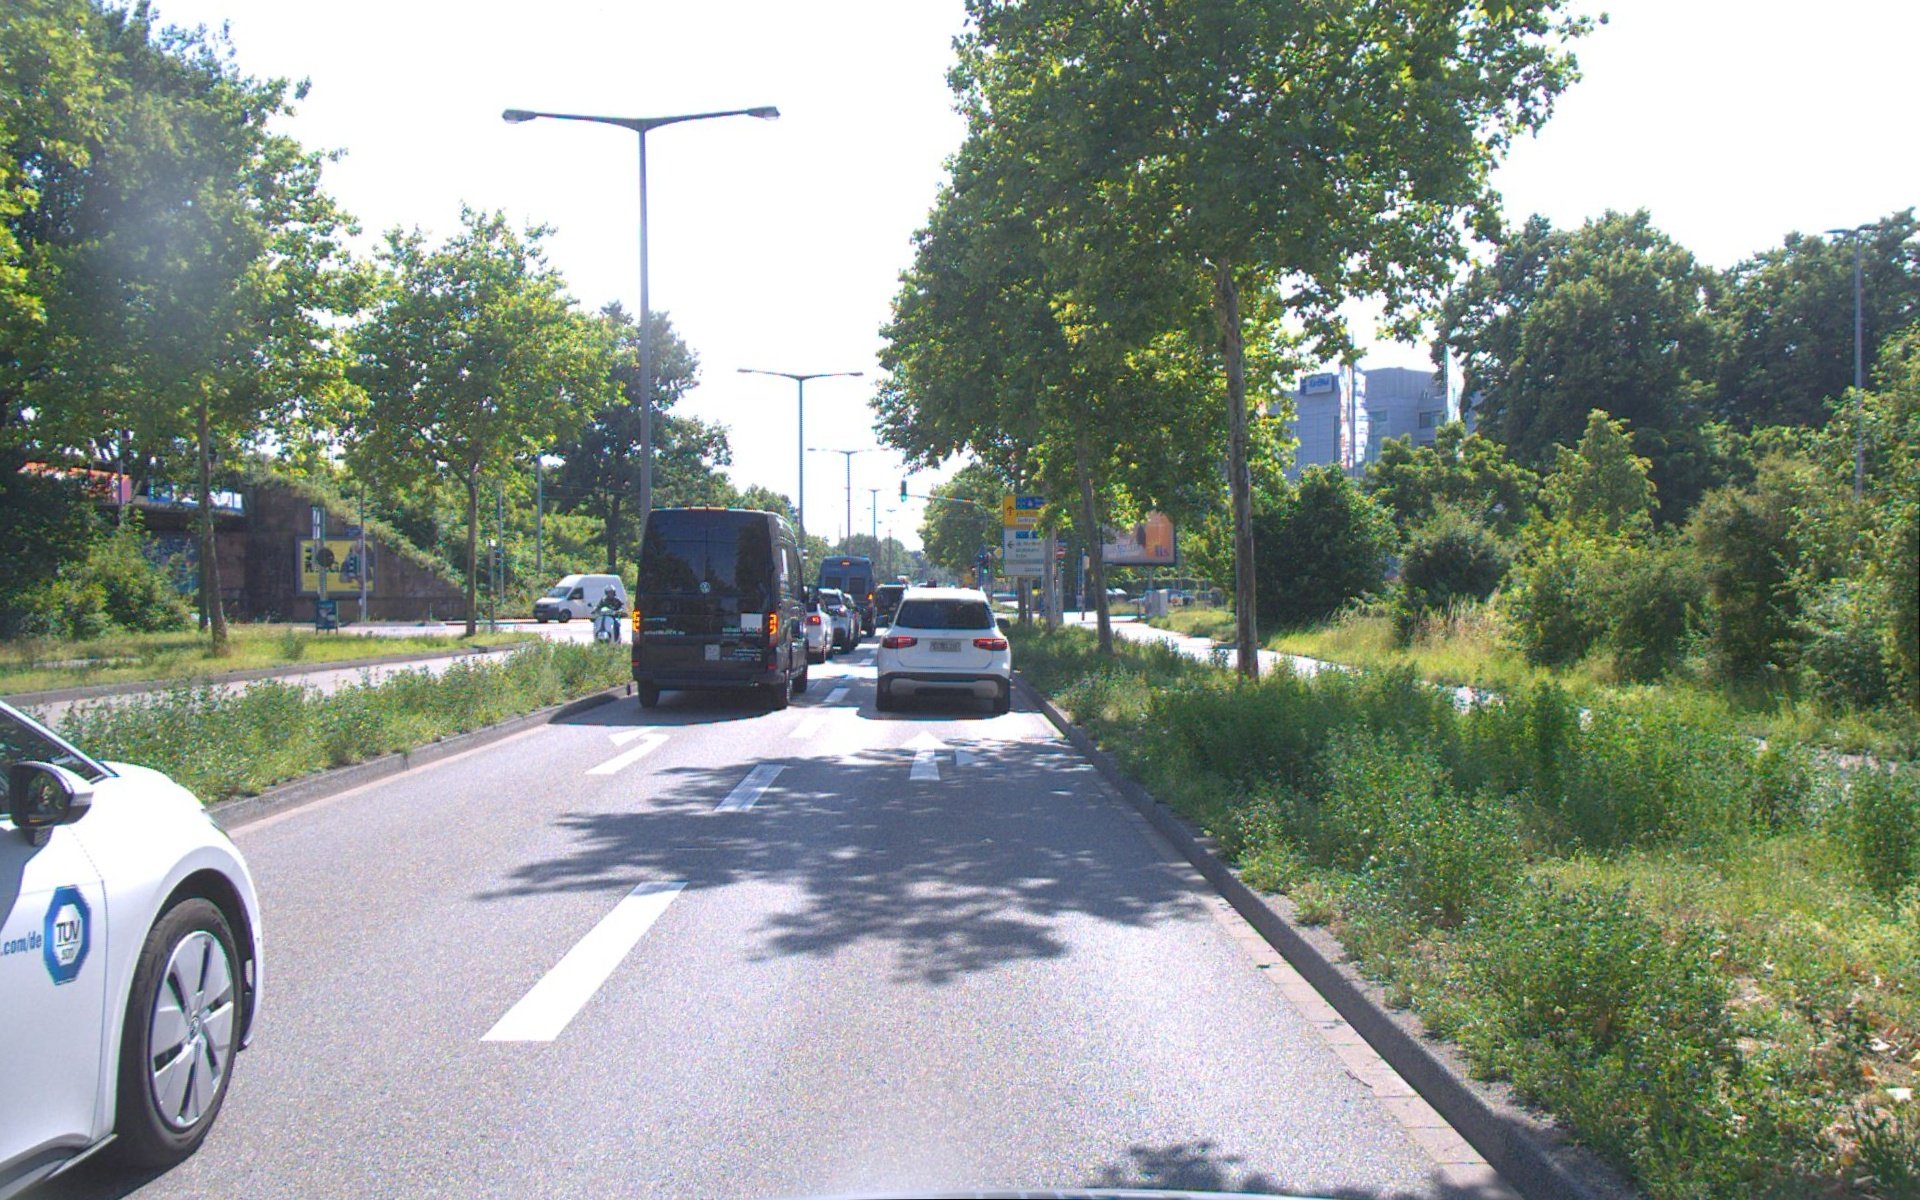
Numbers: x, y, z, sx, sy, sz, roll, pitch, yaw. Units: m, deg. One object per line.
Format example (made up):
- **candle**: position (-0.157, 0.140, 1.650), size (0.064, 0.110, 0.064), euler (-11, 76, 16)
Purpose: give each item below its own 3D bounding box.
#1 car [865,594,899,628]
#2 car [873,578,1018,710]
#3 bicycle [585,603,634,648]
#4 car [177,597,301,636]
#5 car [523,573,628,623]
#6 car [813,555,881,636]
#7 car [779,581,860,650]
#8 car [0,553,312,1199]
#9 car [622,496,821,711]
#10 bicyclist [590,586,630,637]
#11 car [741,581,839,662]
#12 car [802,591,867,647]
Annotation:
- **car**: position (-3.435, 0.472, 73.153), size (1.434, 1.428, 3.476), euler (1, 0, -1)
- **car**: position (-0.288, 0.563, 23.355), size (1.817, 1.635, 3.998), euler (2, 0, -3)
- **bicycle**: position (-8.560, 0.605, 40.475), size (0.713, 1.047, 2.216), euler (2, 0, -1)
- **car**: position (-26.627, 0.603, 61.095), size (3.951, 1.368, 1.861), euler (-1, 0, -34)
- **car**: position (-19.518, -0.093, 84.188), size (1.961, 2.460, 5.116), euler (1, 0, 37)
- **car**: position (-3.968, -0.164, 58.702), size (2.039, 2.703, 4.873), euler (1, 0, 0)
- **car**: position (-3.575, 0.380, 42.674), size (1.735, 1.676, 4.084), euler (1, 0, 0)
- **car**: position (-2.795, 0.673, 2.794), size (1.782, 1.548, 4.207), euler (1, 0, -1)
- **car**: position (-3.228, 0.046, 23.679), size (1.975, 2.653, 6.167), euler (1, 0, -1)
- **bicyclist**: position (-8.555, 0.266, 40.486), size (0.713, 1.211, 1.101), euler (2, 0, -1)
- **car**: position (-3.704, 0.455, 36.712), size (1.735, 1.676, 4.351), euler (1, 0, 0)
- **car**: position (-3.664, 0.522, 48.730), size (1.657, 1.531, 3.885), euler (2, 0, -1)
